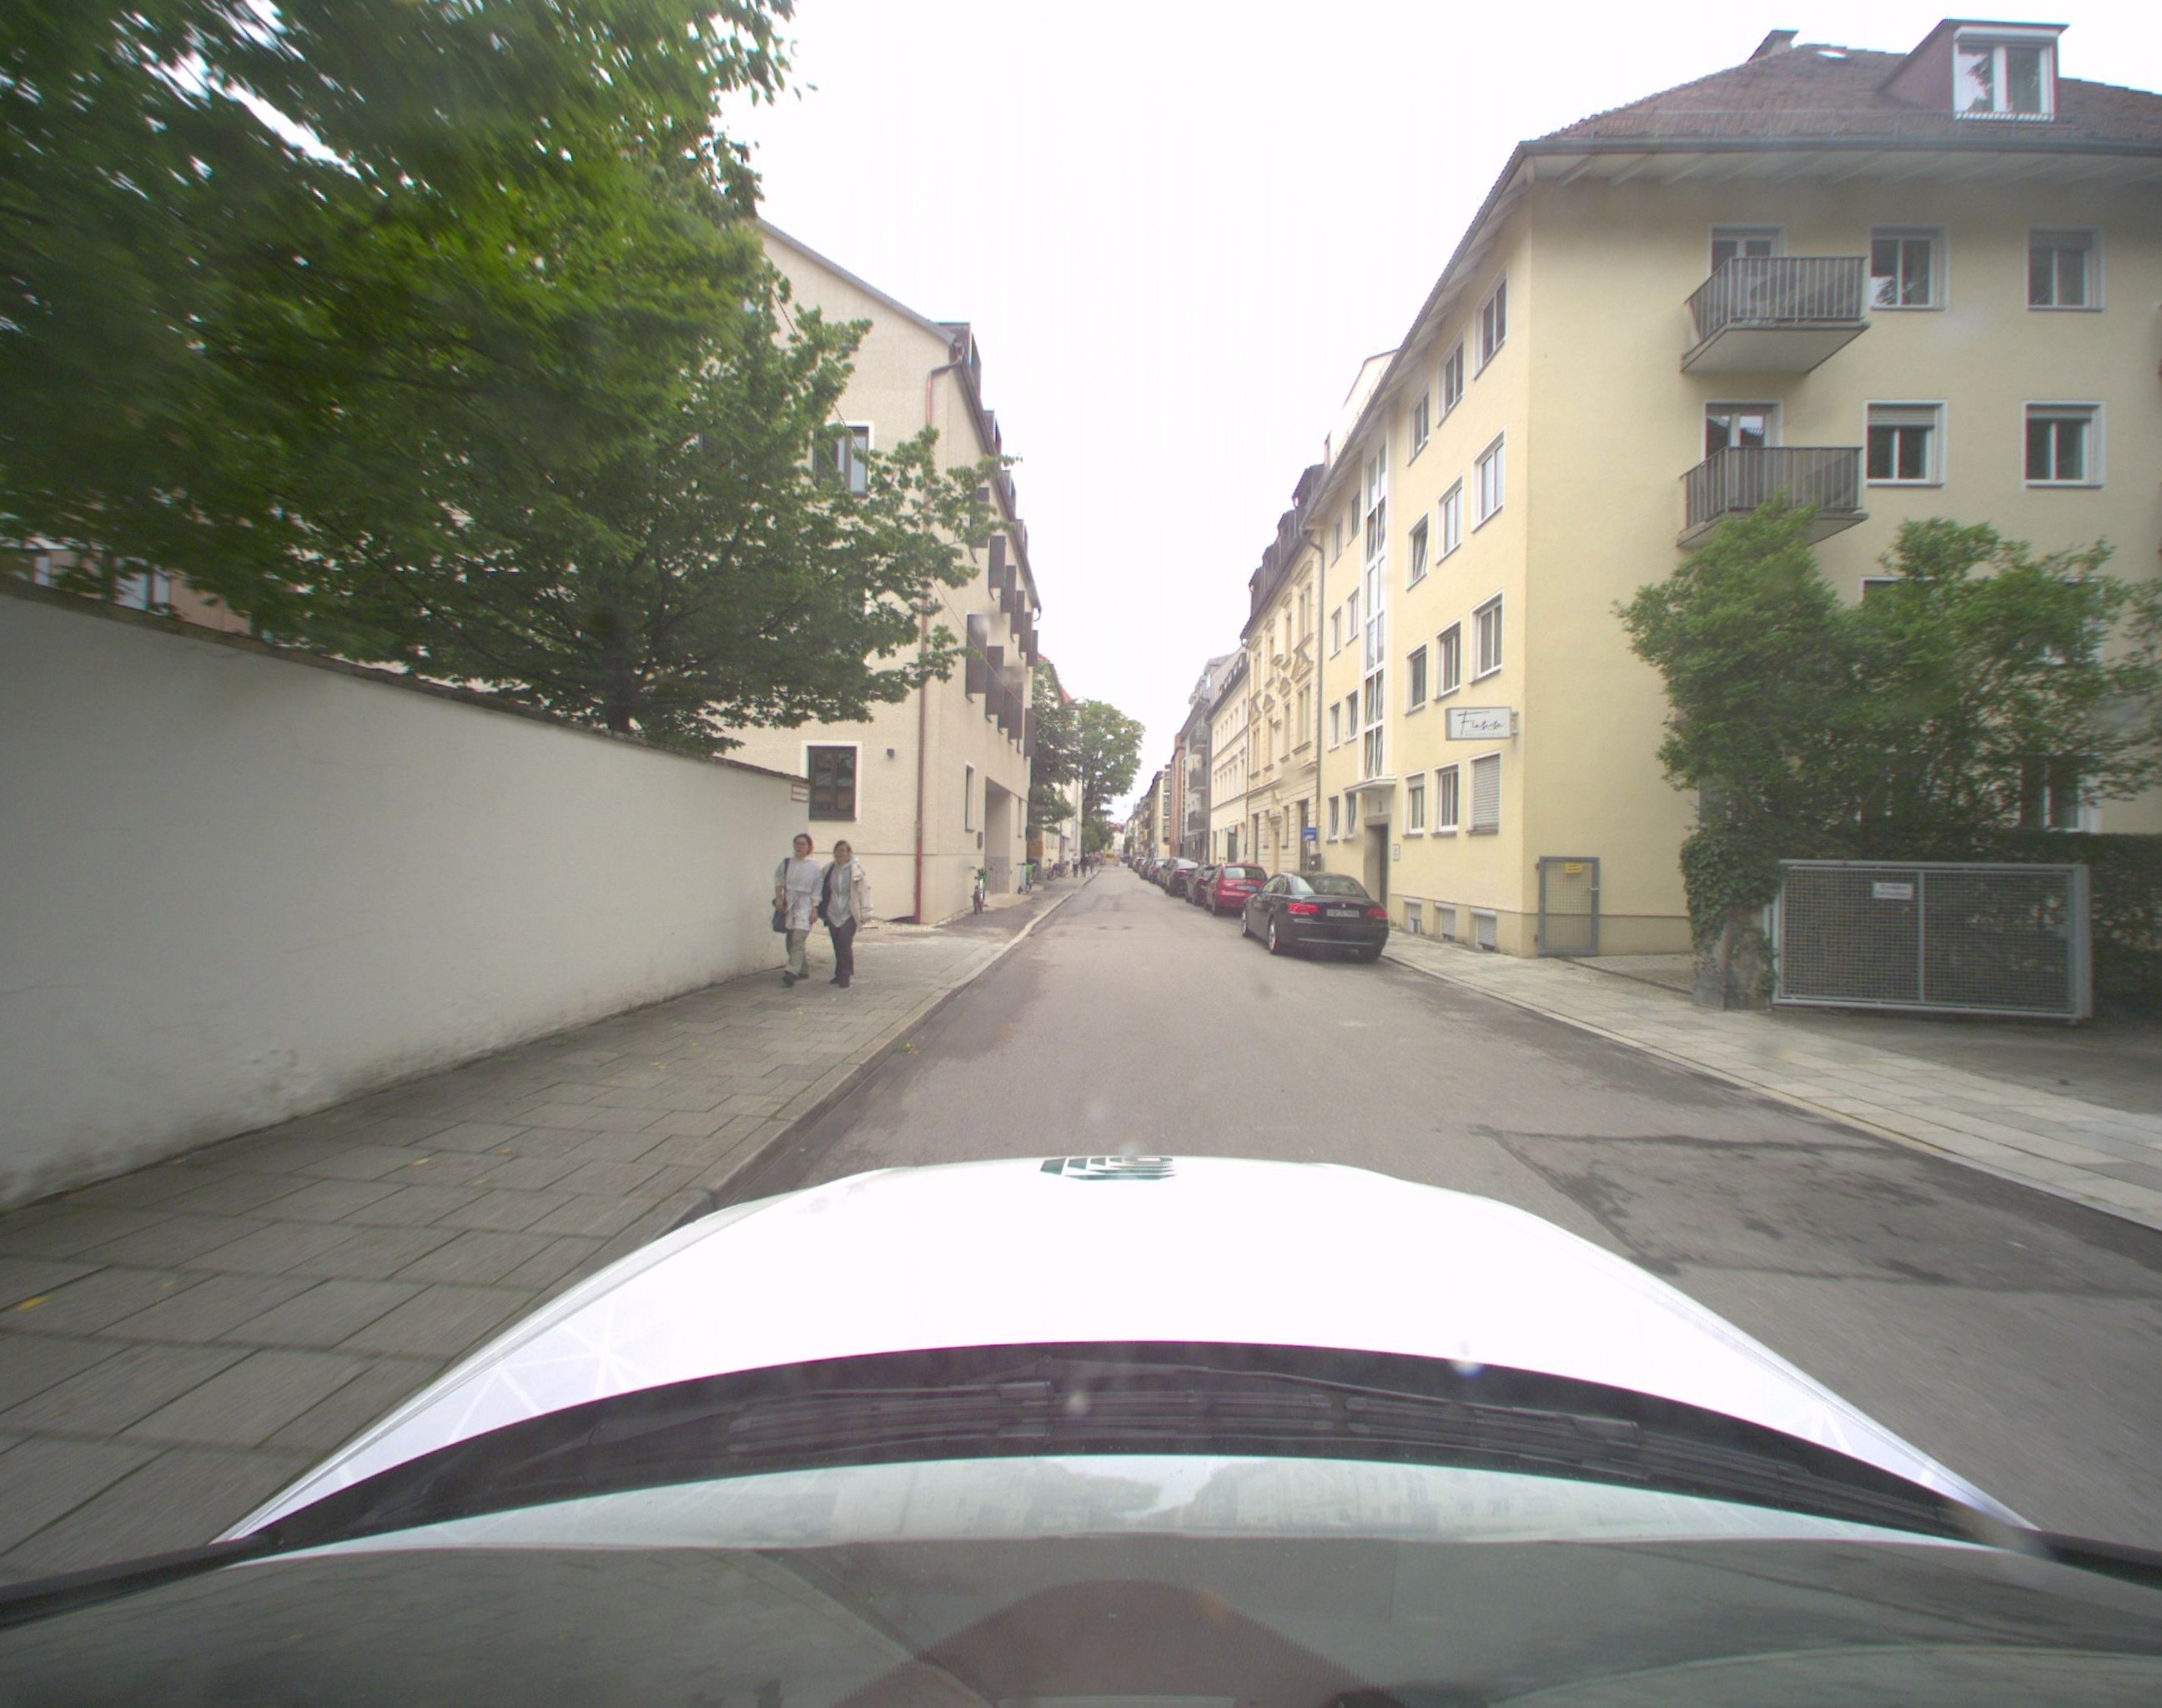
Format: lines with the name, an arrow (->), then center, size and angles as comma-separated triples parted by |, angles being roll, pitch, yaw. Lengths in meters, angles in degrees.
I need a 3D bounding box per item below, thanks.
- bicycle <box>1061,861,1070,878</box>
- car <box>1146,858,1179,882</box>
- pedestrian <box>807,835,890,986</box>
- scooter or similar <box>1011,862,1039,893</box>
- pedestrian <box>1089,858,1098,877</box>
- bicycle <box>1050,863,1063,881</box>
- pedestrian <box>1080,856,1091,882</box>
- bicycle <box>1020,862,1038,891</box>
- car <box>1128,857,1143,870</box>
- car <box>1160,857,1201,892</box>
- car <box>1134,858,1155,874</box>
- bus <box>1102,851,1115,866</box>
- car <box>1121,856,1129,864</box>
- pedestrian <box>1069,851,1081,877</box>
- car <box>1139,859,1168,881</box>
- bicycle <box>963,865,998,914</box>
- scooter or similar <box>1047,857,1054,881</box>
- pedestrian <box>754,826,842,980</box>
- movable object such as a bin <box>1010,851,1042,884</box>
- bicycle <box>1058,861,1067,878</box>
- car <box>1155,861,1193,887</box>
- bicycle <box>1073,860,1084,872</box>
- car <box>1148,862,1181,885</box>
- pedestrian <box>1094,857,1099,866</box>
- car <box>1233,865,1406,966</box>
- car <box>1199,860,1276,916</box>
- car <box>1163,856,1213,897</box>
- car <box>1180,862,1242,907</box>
bicycle -> -1.150, 1.116, 59.077 | 0.560, 1.159, 1.718 | 1, -1, -4
car -> 5.518, 1.074, 55.858 | 1.869, 1.570, 4.316 | 0, 0, 1
pedestrian -> -2.550, 0.605, 8.998 | 0.620, 1.579, 0.714 | 2, -1, 2
scooter or similar -> -2.200, 0.929, 32.093 | 0.547, 1.144, 1.364 | 3, -1, 19
pedestrian -> 1.110, 1.219, 72.101 | 0.750, 1.659, 0.907 | 3, -1, 2
bicycle -> -1.486, 1.080, 49.219 | 0.702, 0.984, 1.821 | 5, -1, -2
pedestrian -> 0.322, 1.081, 58.862 | 0.715, 1.765, 0.838 | 3, -1, 2
bicycle -> -2.163, 0.941, 34.159 | 0.542, 1.161, 1.882 | 3, 0, 1
car -> 8.184, 1.407, 122.076 | 1.795, 1.820, 4.000 | 5, 0, 0
car -> 4.972, 0.979, 41.261 | 1.669, 1.661, 4.515 | 1, 0, 2
car -> 6.636, 1.266, 85.544 | 1.879, 1.555, 4.391 | 2, 0, 0
bus -> 5.753, 0.984, 168.143 | 2.582, 3.102, 6.309 | 0, -1, 3
car -> 10.759, 1.406, 199.812 | 1.795, 1.712, 3.827 | 5, 0, 1
pedestrian -> -0.408, 0.729, 58.534 | 0.715, 1.796, 0.917 | 3, -1, 2
car -> 5.399, 1.161, 60.750 | 1.833, 1.528, 4.294 | 2, 0, 1
bicycle -> -2.505, 0.870, 20.514 | 0.536, 1.139, 1.917 | 3, 0, 2
scooter or similar -> -1.783, 0.870, 47.496 | 0.316, 1.376, 1.239 | 0, -1, 2
pedestrian -> -3.157, 0.529, 9.133 | 0.611, 1.621, 0.688 | 4, -1, 2
movable object such as a bin -> -2.669, 0.655, 39.693 | 1.168, 1.442, 1.251 | 6, 1, 8
bicycle -> -1.298, 1.092, 57.364 | 0.456, 1.159, 1.606 | 3, -1, 3
car -> 5.270, 1.092, 46.399 | 1.793, 1.386, 4.350 | 0, 0, 2
bicycle -> -0.251, 1.240, 82.036 | 0.643, 1.217, 1.655 | 1, -1, -17
car -> 5.188, 1.166, 50.942 | 1.800, 1.363, 3.948 | 0, 0, 3
pedestrian -> 2.512, 1.213, 132.708 | 0.753, 1.491, 0.831 | 0, -1, 2
car -> 4.030, 0.954, 14.577 | 1.819, 1.334, 4.510 | 5, 0, 2
car -> 4.583, 0.955, 24.336 | 1.669, 1.492, 3.855 | 1, 0, 2
car -> 4.612, 0.922, 35.583 | 1.695, 1.607, 4.687 | 1, 0, 2
car -> 4.545, 1.025, 28.878 | 1.669, 1.393, 4.067 | 1, 0, 2
